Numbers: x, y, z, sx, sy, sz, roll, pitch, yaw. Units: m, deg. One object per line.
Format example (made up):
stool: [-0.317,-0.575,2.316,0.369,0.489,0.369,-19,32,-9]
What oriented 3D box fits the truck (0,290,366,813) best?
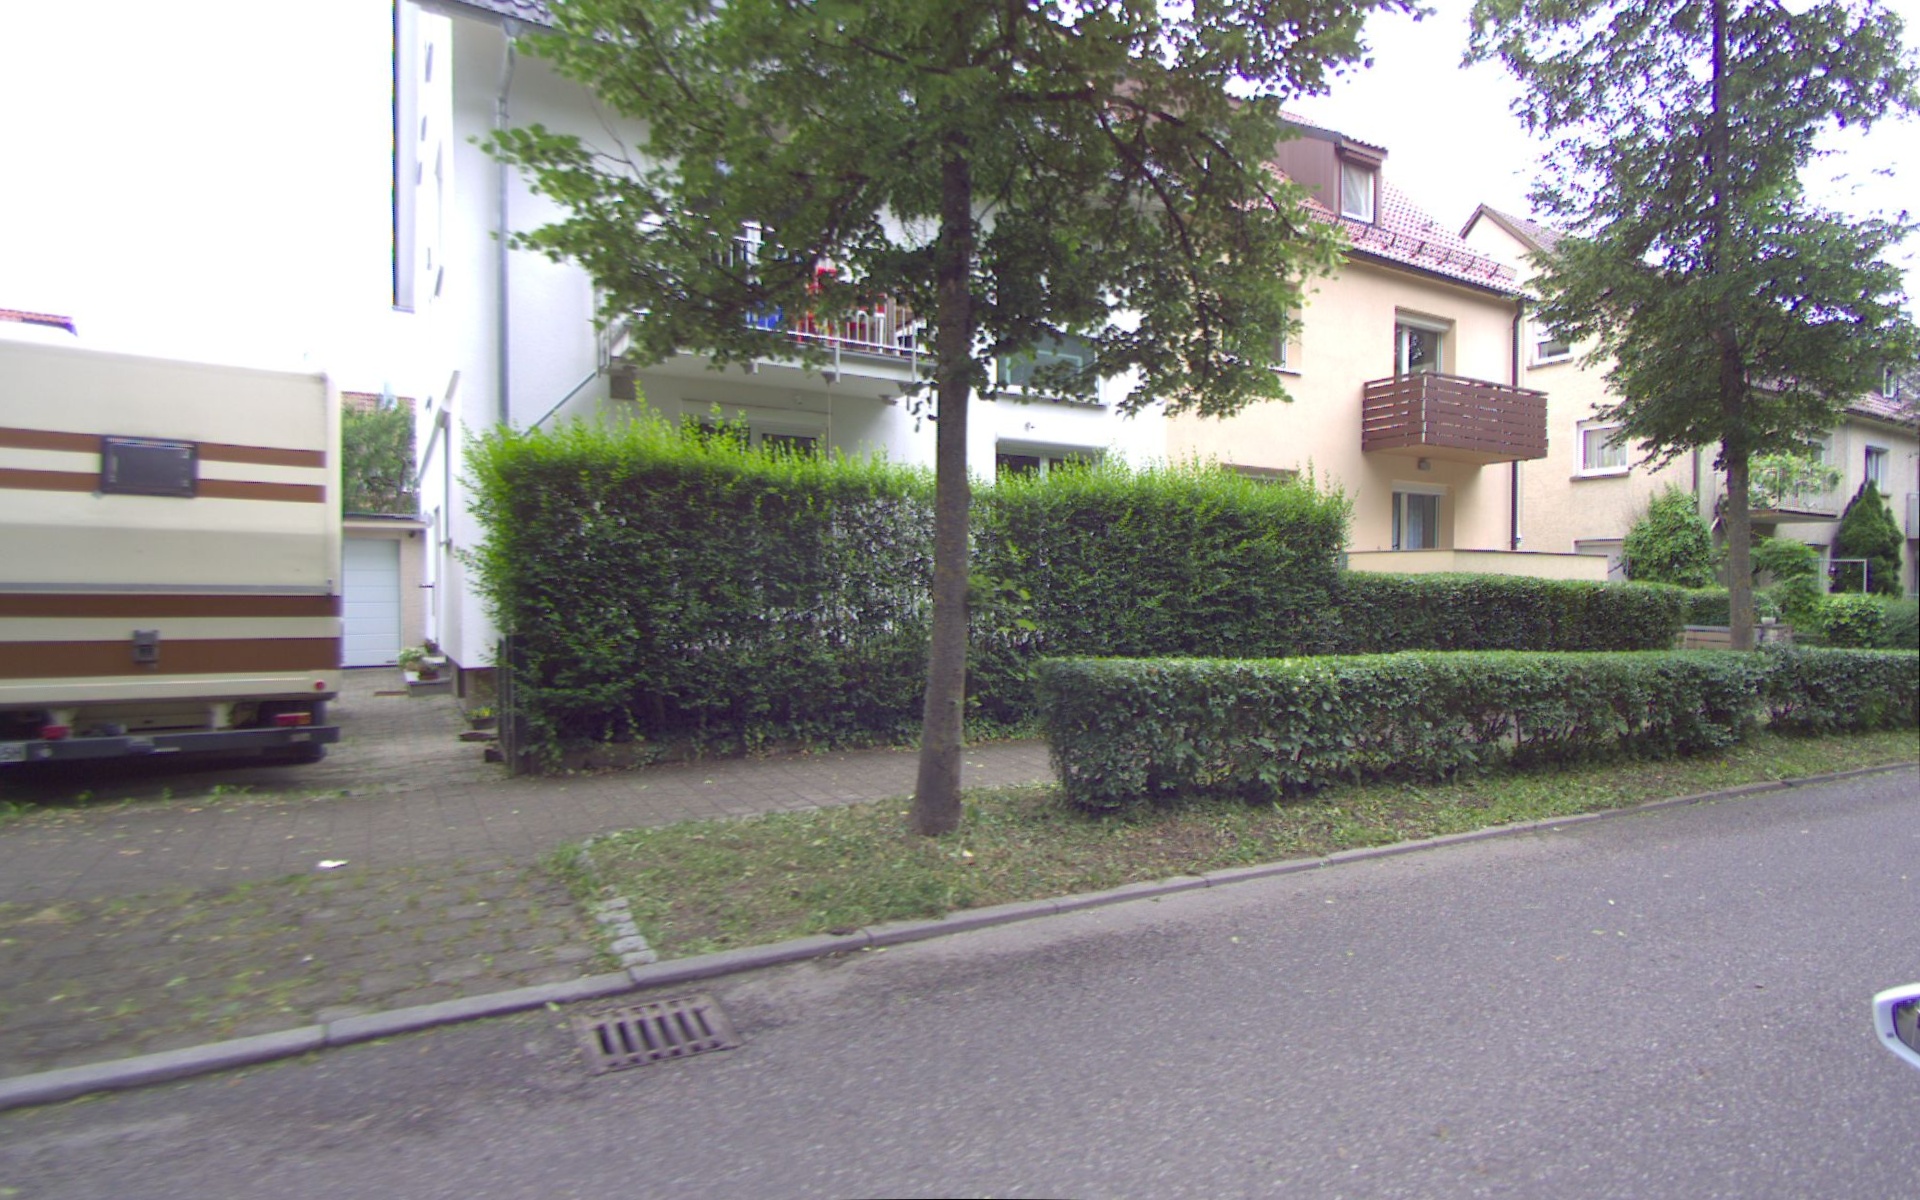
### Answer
truck: [-6.766,-0.316,8.918,2.489,3.173,5.765,1,0,-31]
